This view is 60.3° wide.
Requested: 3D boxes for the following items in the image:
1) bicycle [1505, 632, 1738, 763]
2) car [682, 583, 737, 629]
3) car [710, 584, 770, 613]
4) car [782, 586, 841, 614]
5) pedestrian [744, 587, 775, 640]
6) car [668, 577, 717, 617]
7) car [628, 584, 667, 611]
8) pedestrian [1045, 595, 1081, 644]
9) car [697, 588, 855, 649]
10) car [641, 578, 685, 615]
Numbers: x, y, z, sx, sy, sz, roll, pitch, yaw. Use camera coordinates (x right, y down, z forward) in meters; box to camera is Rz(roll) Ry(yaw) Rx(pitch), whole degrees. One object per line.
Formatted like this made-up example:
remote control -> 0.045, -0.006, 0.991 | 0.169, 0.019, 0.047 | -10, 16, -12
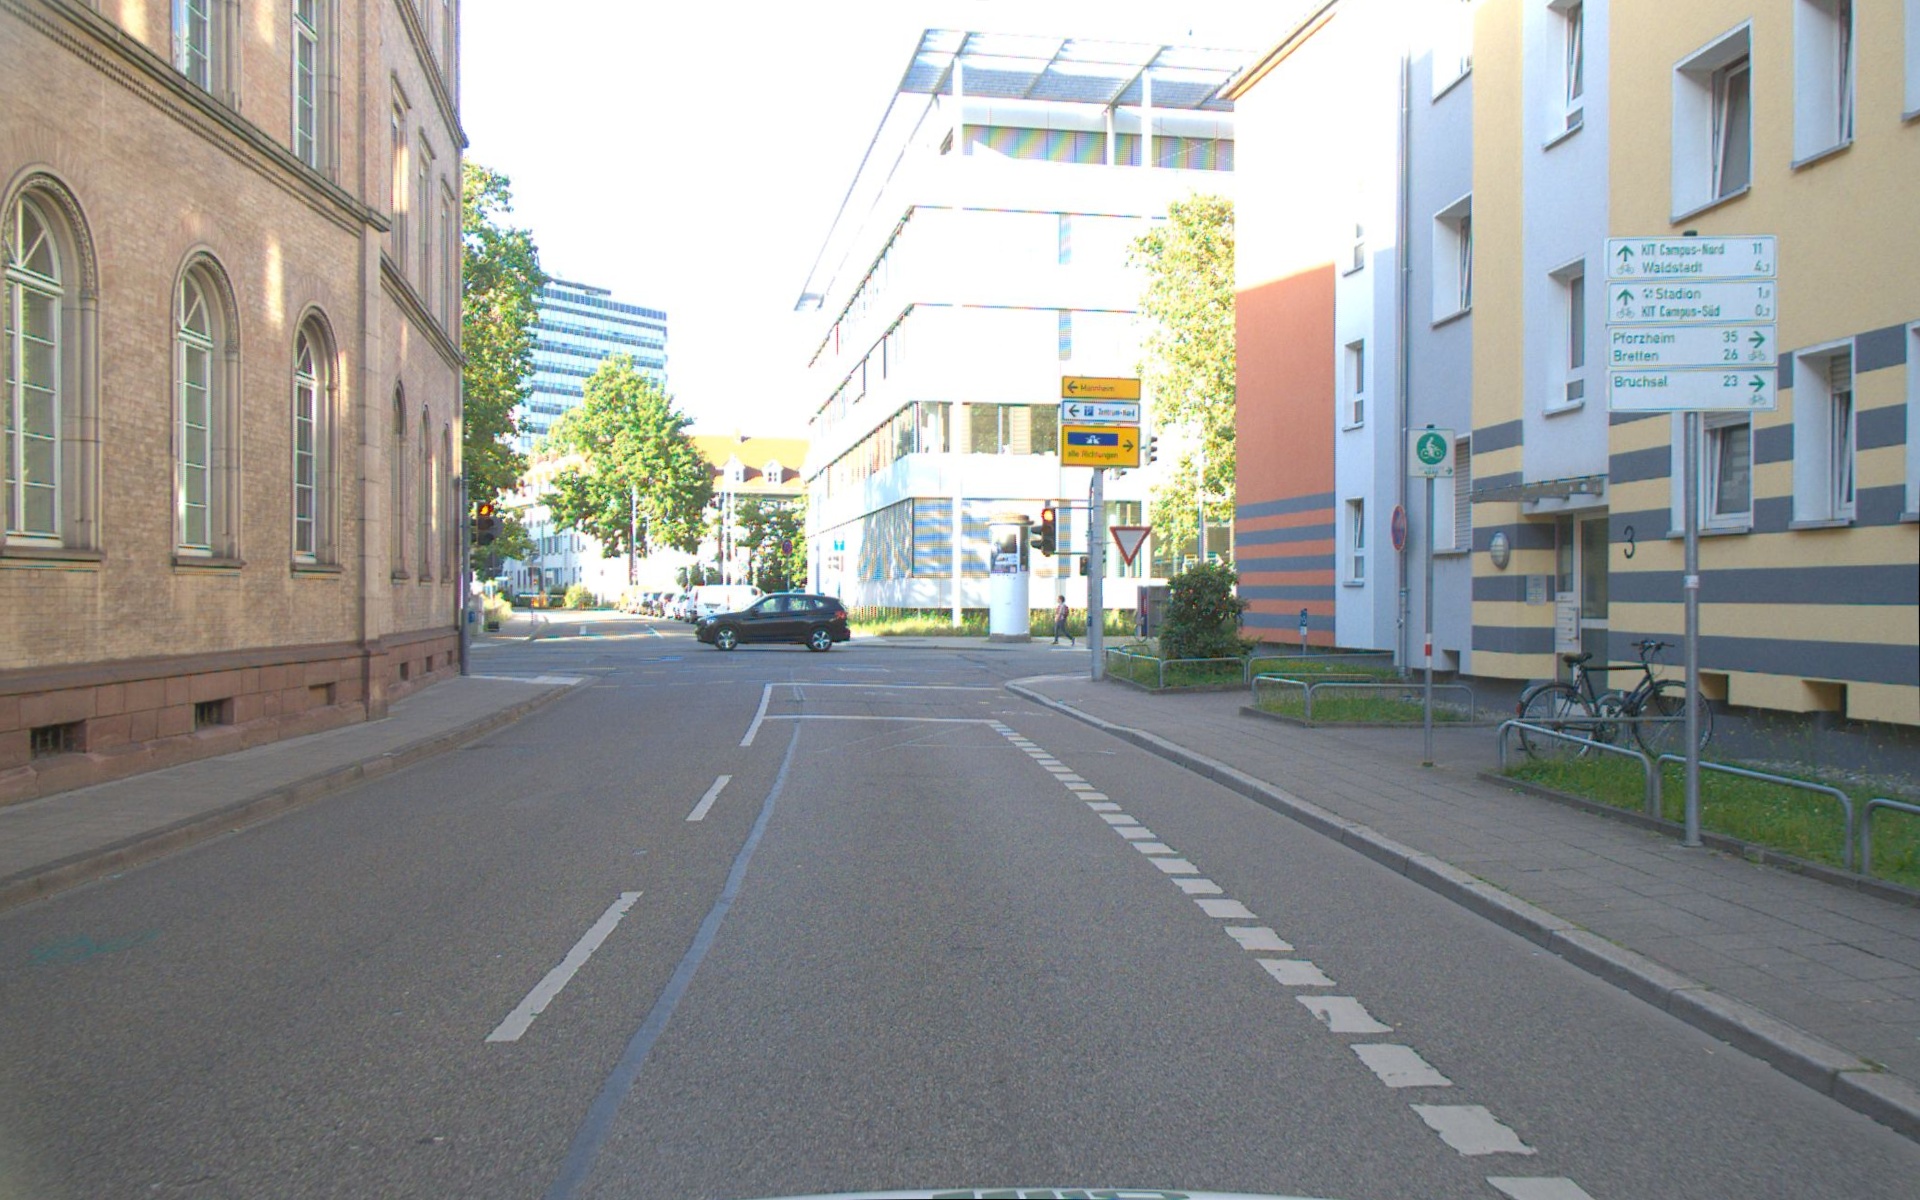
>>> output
bicycle -> 5.564, 0.809, 13.954 | 1.719, 1.021, 0.612 | -1, -1, -5
car -> -12.519, 0.299, 82.495 | 2.381, 2.149, 5.216 | 2, -1, -12
car -> -15.998, -0.112, 120.215 | 3.933, 1.949, 1.906 | 2, -1, -23
car -> -11.003, 0.037, 122.449 | 3.933, 1.915, 1.922 | 2, -1, -23
pedestrian -> -6.846, 0.462, 56.417 | 0.911, 1.790, 0.845 | 2, -1, -13
car -> -15.214, -0.156, 93.854 | 2.290, 2.149, 4.987 | 2, -1, -14
car -> -21.383, -0.155, 113.025 | 2.290, 1.763, 4.987 | 2, -1, -14
pedestrian -> 3.340, 0.619, 53.545 | 0.911, 1.542, 0.845 | 2, -1, -13
car -> -5.215, 0.501, 46.624 | 4.289, 1.662, 1.994 | 0, 0, -12
car -> -18.554, -0.210, 103.147 | 2.290, 2.149, 4.987 | 2, -1, -14
